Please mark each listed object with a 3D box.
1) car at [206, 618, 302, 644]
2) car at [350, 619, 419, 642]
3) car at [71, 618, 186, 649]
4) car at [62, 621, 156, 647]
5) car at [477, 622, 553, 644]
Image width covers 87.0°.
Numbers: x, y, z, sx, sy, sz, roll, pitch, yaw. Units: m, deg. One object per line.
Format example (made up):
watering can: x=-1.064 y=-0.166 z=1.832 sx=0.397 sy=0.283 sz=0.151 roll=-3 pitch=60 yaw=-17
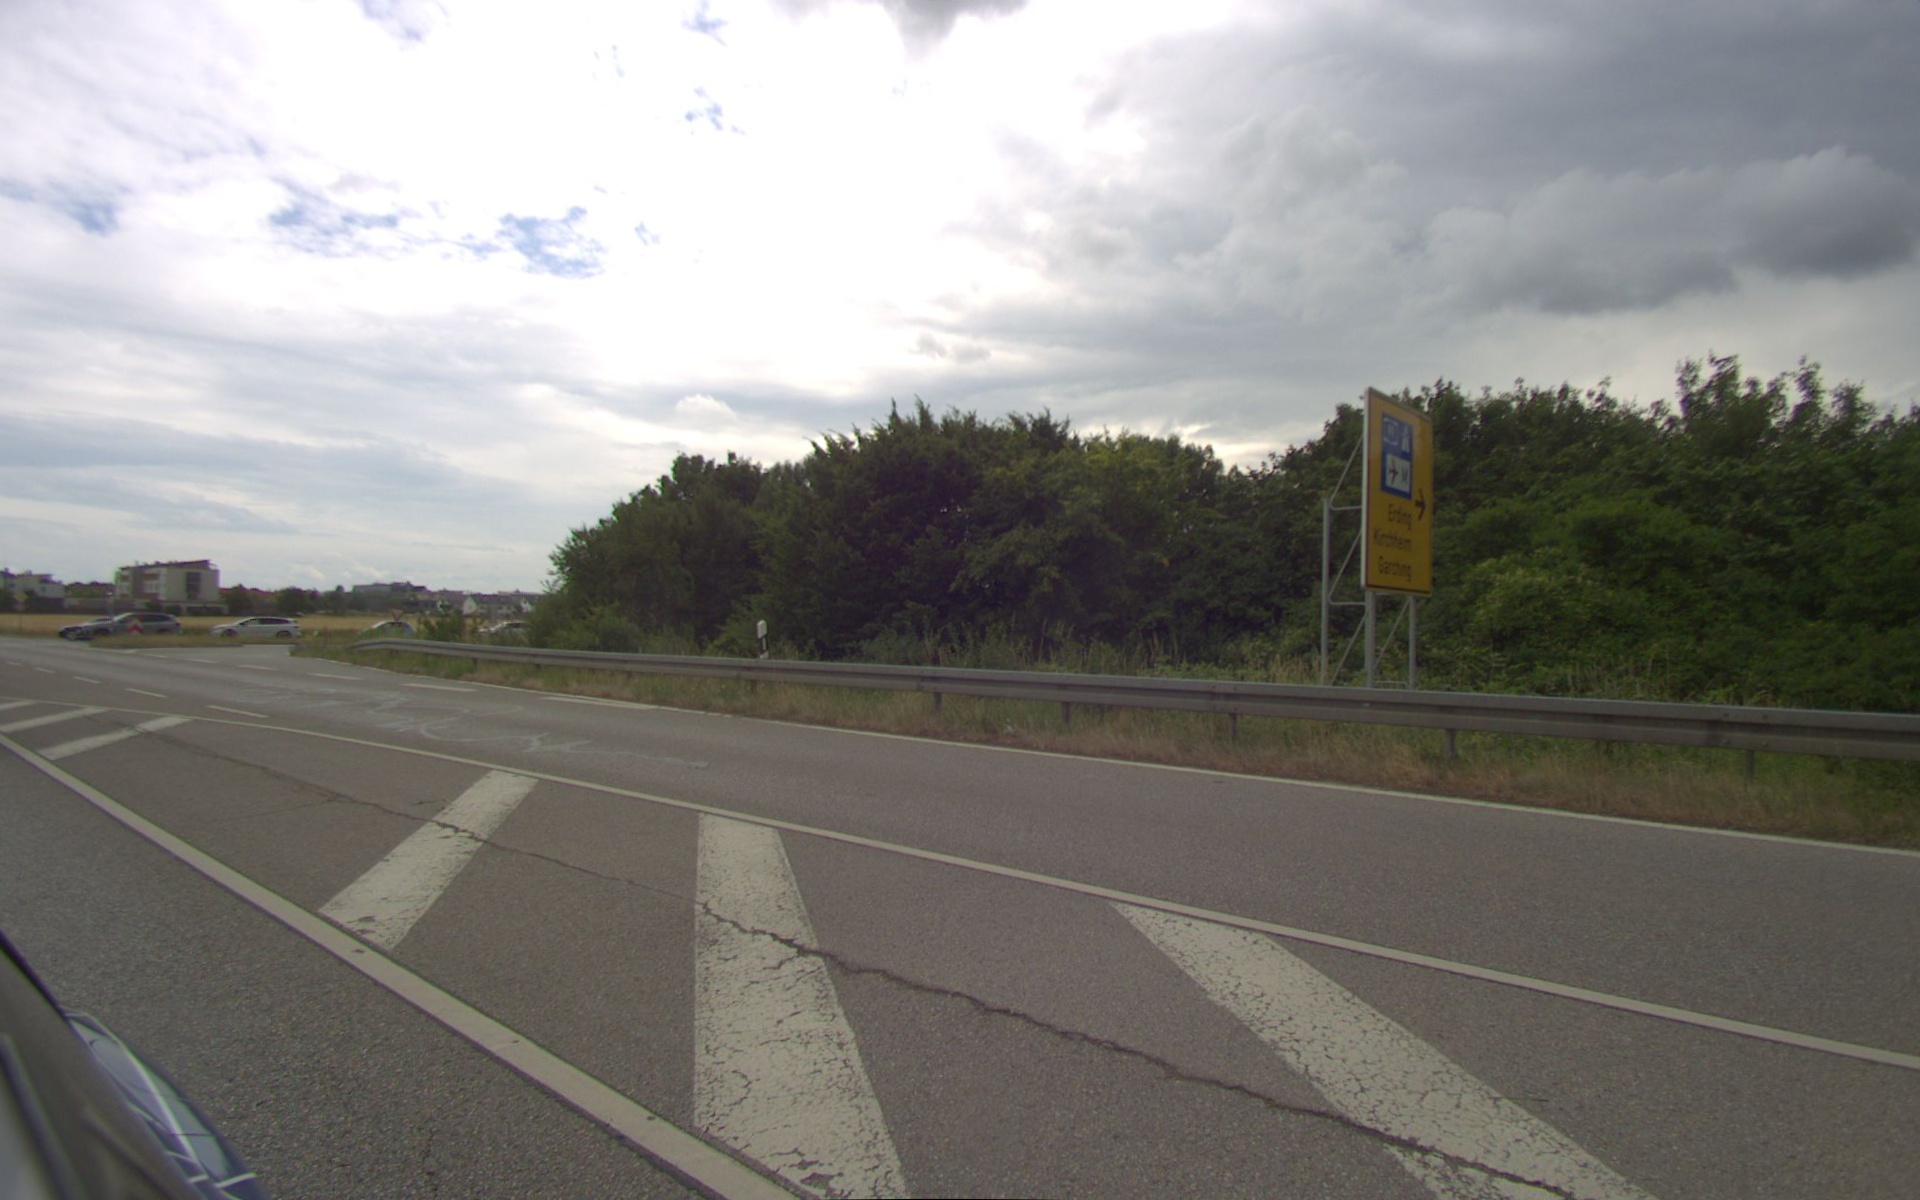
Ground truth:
car: x=-43.458 y=1.888 z=62.327 sx=4.607 sy=1.510 sz=2.002 roll=1 pitch=-2 yaw=-42
car: x=-38.097 y=2.008 z=67.042 sx=3.662 sy=1.510 sz=1.732 roll=1 pitch=-2 yaw=-42
car: x=-47.454 y=1.872 z=57.834 sx=1.996 sy=1.702 sz=4.758 roll=-1 pitch=-2 yaw=36
car: x=-50.738 y=2.034 z=60.407 sx=3.774 sy=1.501 sz=2.005 roll=0 pitch=-1 yaw=-14
car: x=-31.999 y=2.361 z=72.898 sx=4.607 sy=1.510 sz=2.002 roll=1 pitch=-2 yaw=-42
